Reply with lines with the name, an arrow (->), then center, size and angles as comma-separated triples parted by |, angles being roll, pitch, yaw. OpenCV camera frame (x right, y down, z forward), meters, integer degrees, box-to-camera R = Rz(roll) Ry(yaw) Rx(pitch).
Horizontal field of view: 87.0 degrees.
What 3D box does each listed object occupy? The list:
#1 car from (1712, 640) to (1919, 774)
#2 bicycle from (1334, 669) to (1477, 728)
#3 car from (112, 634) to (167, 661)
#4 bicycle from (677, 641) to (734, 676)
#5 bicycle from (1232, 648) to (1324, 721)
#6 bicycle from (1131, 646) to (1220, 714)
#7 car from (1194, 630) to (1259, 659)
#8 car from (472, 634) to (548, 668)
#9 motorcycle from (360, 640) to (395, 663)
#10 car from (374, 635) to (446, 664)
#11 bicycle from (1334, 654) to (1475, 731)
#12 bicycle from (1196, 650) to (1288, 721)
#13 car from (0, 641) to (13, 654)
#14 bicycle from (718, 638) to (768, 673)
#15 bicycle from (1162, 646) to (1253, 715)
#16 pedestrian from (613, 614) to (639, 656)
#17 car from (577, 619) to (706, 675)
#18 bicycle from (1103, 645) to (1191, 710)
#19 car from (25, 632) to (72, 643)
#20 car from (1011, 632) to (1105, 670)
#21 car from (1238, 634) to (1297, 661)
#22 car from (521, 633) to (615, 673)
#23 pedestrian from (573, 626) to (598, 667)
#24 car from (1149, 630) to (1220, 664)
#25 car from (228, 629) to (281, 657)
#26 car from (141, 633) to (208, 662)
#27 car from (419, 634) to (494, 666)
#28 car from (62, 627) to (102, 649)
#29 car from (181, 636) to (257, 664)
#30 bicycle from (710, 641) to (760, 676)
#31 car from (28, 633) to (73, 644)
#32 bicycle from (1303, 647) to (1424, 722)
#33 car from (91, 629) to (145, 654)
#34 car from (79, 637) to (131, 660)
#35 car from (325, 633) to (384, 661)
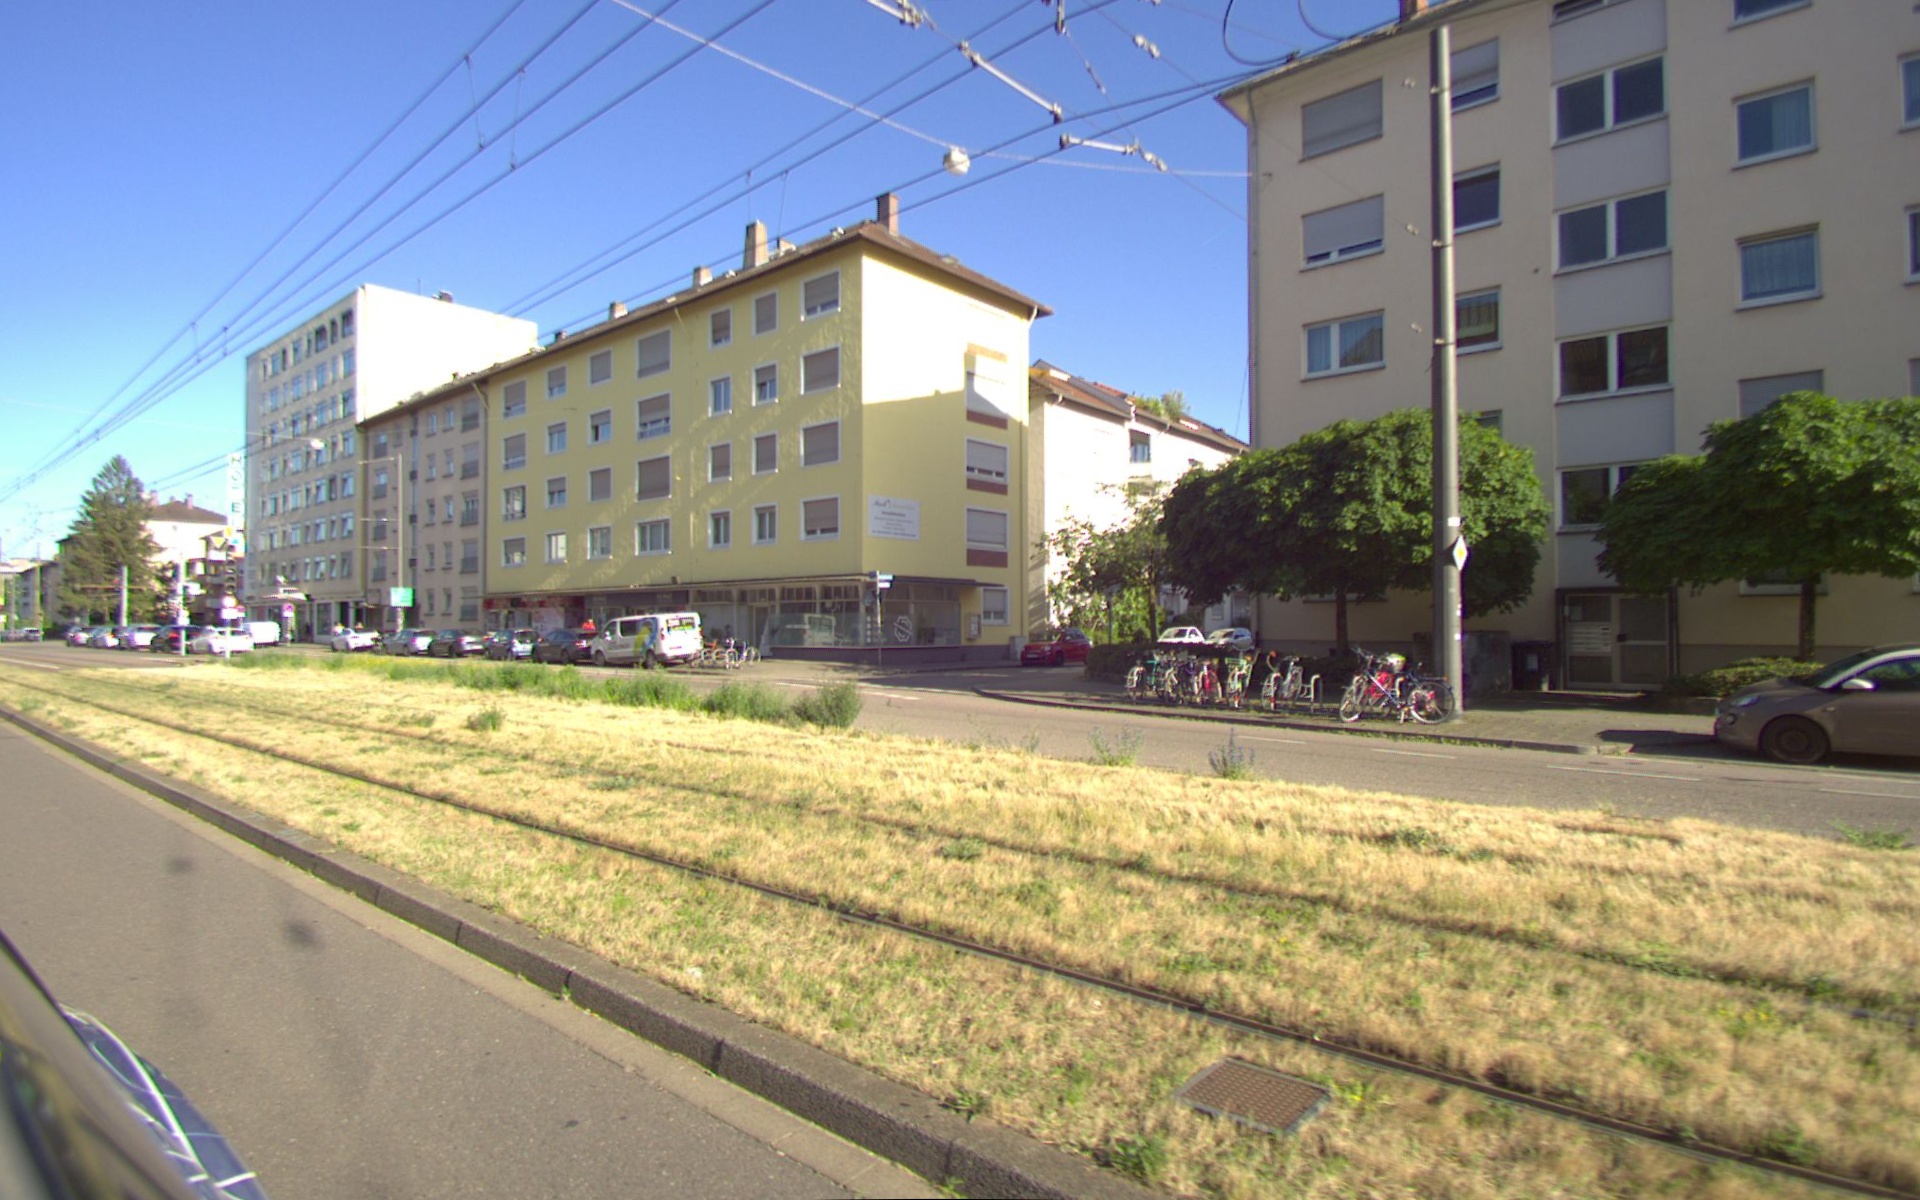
car -> 11.431, 1.246, 12.188 | 3.730, 1.453, 1.619 | -2, 0, 39
bicycle -> 7.072, 1.553, 16.124 | 2.046, 0.872, 0.374 | -2, 0, 30
car -> -49.142, 2.845, 60.577 | 4.605, 1.593, 1.764 | -2, -4, 41
bicycle -> -9.196, 2.100, 36.619 | 0.472, 1.114, 2.076 | -2, 0, 41
bicycle -> 5.663, 1.465, 17.940 | 2.024, 1.101, 0.616 | -2, 0, -43
bicycle -> 4.175, 1.512, 19.517 | 2.024, 1.101, 0.616 | -2, 0, -43
car -> 13.674, 2.301, 51.886 | 1.771, 1.424, 3.948 | -2, -4, 39
car -> -20.830, 2.345, 46.782 | 3.766, 1.395, 1.764 | -2, 0, 41
motorcycle -> -32.643, 2.870, 56.710 | 0.481, 1.147, 2.107 | -2, 0, 7
car -> -29.255, 2.609, 53.791 | 4.410, 1.395, 1.765 | -2, 0, 39
bicycle -> 6.869, 1.415, 15.688 | 1.928, 1.101, 0.506 | -2, 0, 30
bicycle -> 5.159, 1.526, 18.453 | 2.024, 1.101, 0.616 | -2, 0, -43
car -> -114.495, 5.707, 120.023 | 1.693, 1.397, 3.725 | -2, 0, -18
bicycle -> -7.555, 1.920, 35.277 | 0.390, 1.114, 1.800 | -2, 0, 41
bicycle -> 4.667, 1.485, 18.991 | 2.024, 1.101, 0.616 | -2, 0, -43
pedestrian -> -15.039, 1.570, 45.519 | 0.923, 1.874, 0.664 | -2, 0, 41
car -> -12.426, 1.790, 39.302 | 5.493, 1.964, 1.975 | -2, 0, 38
bicycle -> 3.719, 1.498, 20.010 | 2.024, 1.101, 0.616 | -2, 0, -43
car -> -108.672, 4.486, 120.732 | 1.737, 1.342, 3.946 | -2, -3, 40
car -> 3.845, 1.982, 39.312 | 1.771, 1.424, 3.948 | -2, -4, 39
car -> 16.874, 2.633, 55.516 | 1.771, 1.424, 3.948 | -2, -4, 39
car -> -16.663, 2.218, 42.945 | 4.593, 1.485, 1.764 | -2, 0, 41
pedestrian -> -16.657, 2.073, 44.977 | 0.844, 1.756, 0.664 | -2, 0, 41
car -> 10.786, 2.275, 48.487 | 1.771, 1.542, 3.948 | -2, -4, 39
car -> -51.937, 3.151, 74.471 | 4.665, 1.912, 1.974 | -2, 0, 39
car -> -43.540, 2.647, 56.088 | 4.406, 1.540, 1.767 | -2, -3, 36
car -> -25.126, 2.467, 50.397 | 4.413, 1.431, 1.764 | -2, 0, 41
car -> -64.305, 2.805, 74.103 | 3.997, 1.571, 1.596 | -2, -4, 41
car -> -38.129, 2.551, 52.044 | 4.405, 1.395, 1.817 | -2, -3, 35
bicycle -> -7.877, 2.034, 35.535 | 0.390, 1.114, 1.800 | -2, 0, 41
car -> -111.637, 4.677, 124.218 | 1.737, 1.342, 3.946 | -2, -3, 40
bicycle -> 6.884, 1.422, 17.260 | 2.019, 1.101, 0.617 | -2, 0, -22
car -> -54.454, 2.693, 65.441 | 4.236, 1.562, 1.838 | -2, -4, 39
car -> -59.593, 3.387, 70.533 | 4.362, 1.562, 1.974 | -2, -4, 39
car -> -35.664, 2.721, 59.541 | 4.197, 1.497, 1.740 | -2, 0, 41
